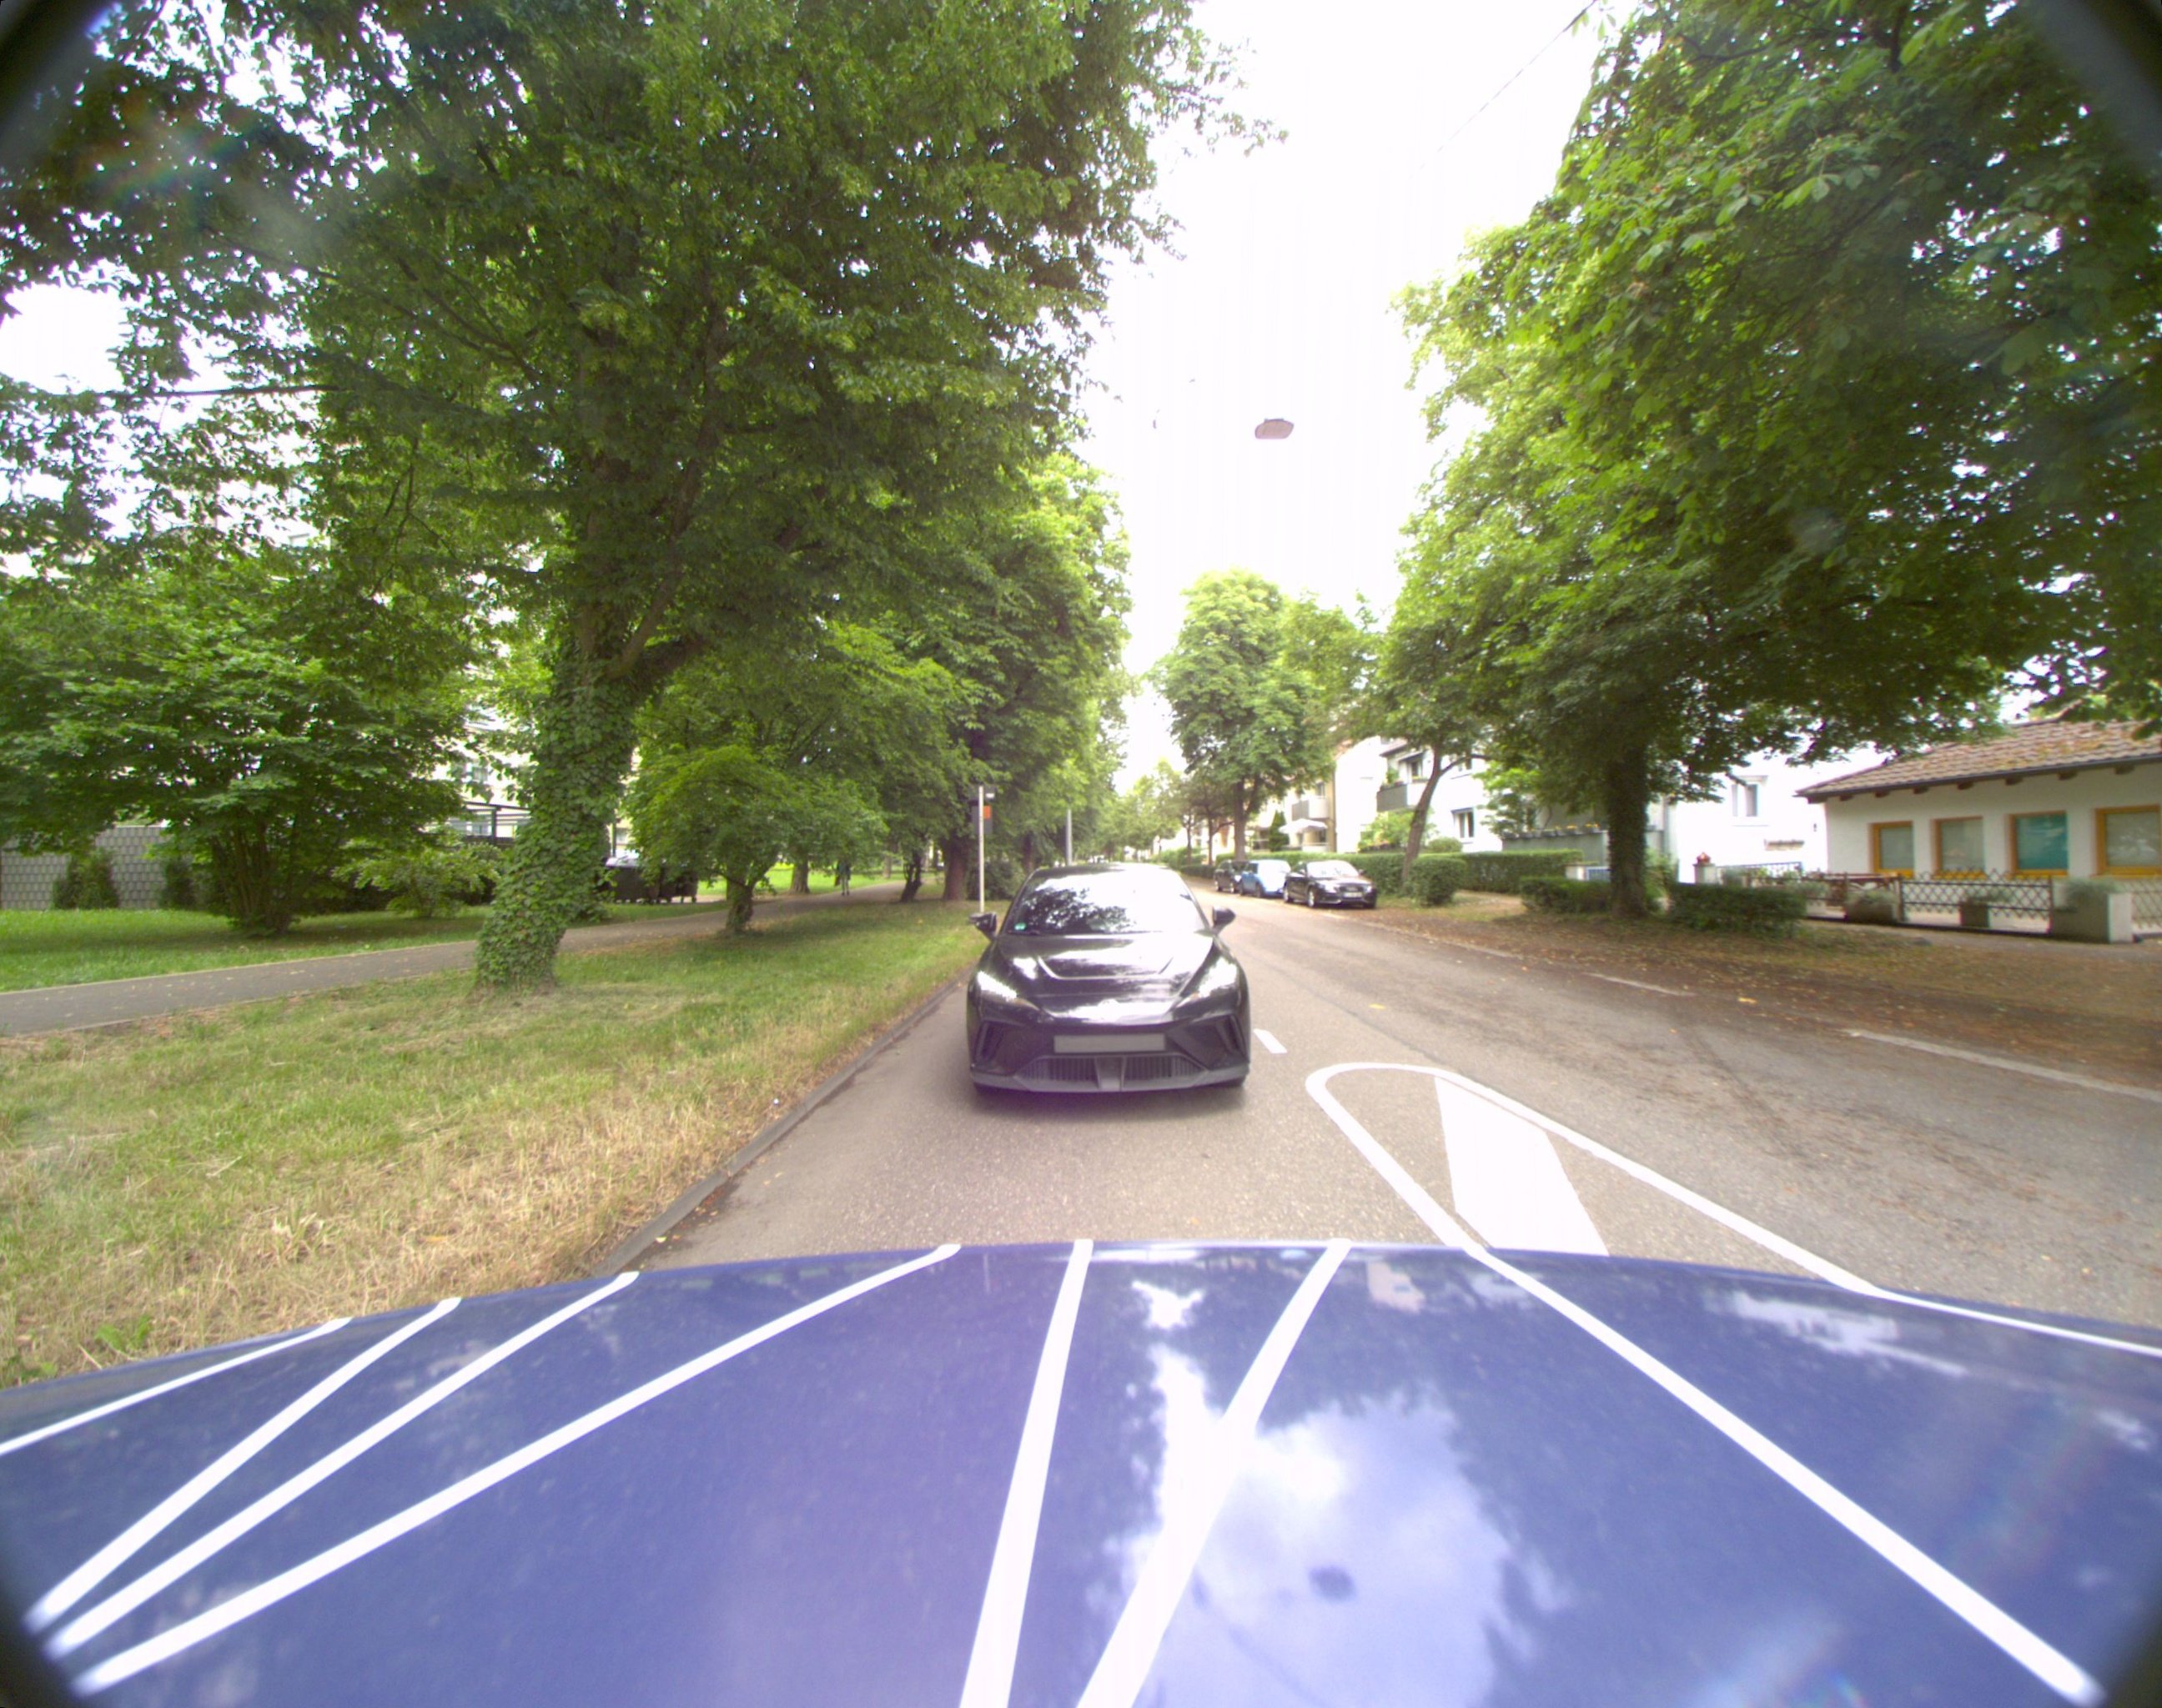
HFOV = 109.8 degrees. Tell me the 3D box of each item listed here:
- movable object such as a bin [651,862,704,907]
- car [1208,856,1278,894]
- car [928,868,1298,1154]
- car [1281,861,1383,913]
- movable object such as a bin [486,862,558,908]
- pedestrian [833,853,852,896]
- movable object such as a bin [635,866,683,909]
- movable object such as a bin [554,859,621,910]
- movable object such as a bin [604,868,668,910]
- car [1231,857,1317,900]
[{"bbox_3d":[-13.240,0.985,24.975,1.194,1.405,1.110,0,0,-8],"label":"movable object such as a bin"},{"bbox_3d":[7.079,0.881,33.657,1.889,1.524,4.565,0,0,-3],"label":"car"},{"bbox_3d":[0.195,0.895,6.423,1.998,1.491,4.615,0,0,1],"label":"car"},{"bbox_3d":[7.409,0.913,22.882,1.735,1.394,4.172,0,0,1],"label":"car"},{"bbox_3d":[-16.510,0.894,22.488,1.194,1.334,1.348,0,0,-8],"label":"movable object such as a bin"},{"bbox_3d":[-9.701,0.823,30.887,0.565,1.730,0.570,1,0,0],"label":"pedestrian"},{"bbox_3d":[-13.237,1.045,23.882,1.026,1.296,0.960,0,0,-8],"label":"movable object such as a bin"},{"bbox_3d":[-14.569,0.869,22.491,1.194,1.448,1.348,0,0,-8],"label":"movable object such as a bin"},{"bbox_3d":[-13.252,1.026,22.683,1.194,1.213,1.348,0,0,-8],"label":"movable object such as a bin"},{"bbox_3d":[7.210,0.879,28.904,1.889,1.492,4.565,0,0,-3],"label":"car"}]
